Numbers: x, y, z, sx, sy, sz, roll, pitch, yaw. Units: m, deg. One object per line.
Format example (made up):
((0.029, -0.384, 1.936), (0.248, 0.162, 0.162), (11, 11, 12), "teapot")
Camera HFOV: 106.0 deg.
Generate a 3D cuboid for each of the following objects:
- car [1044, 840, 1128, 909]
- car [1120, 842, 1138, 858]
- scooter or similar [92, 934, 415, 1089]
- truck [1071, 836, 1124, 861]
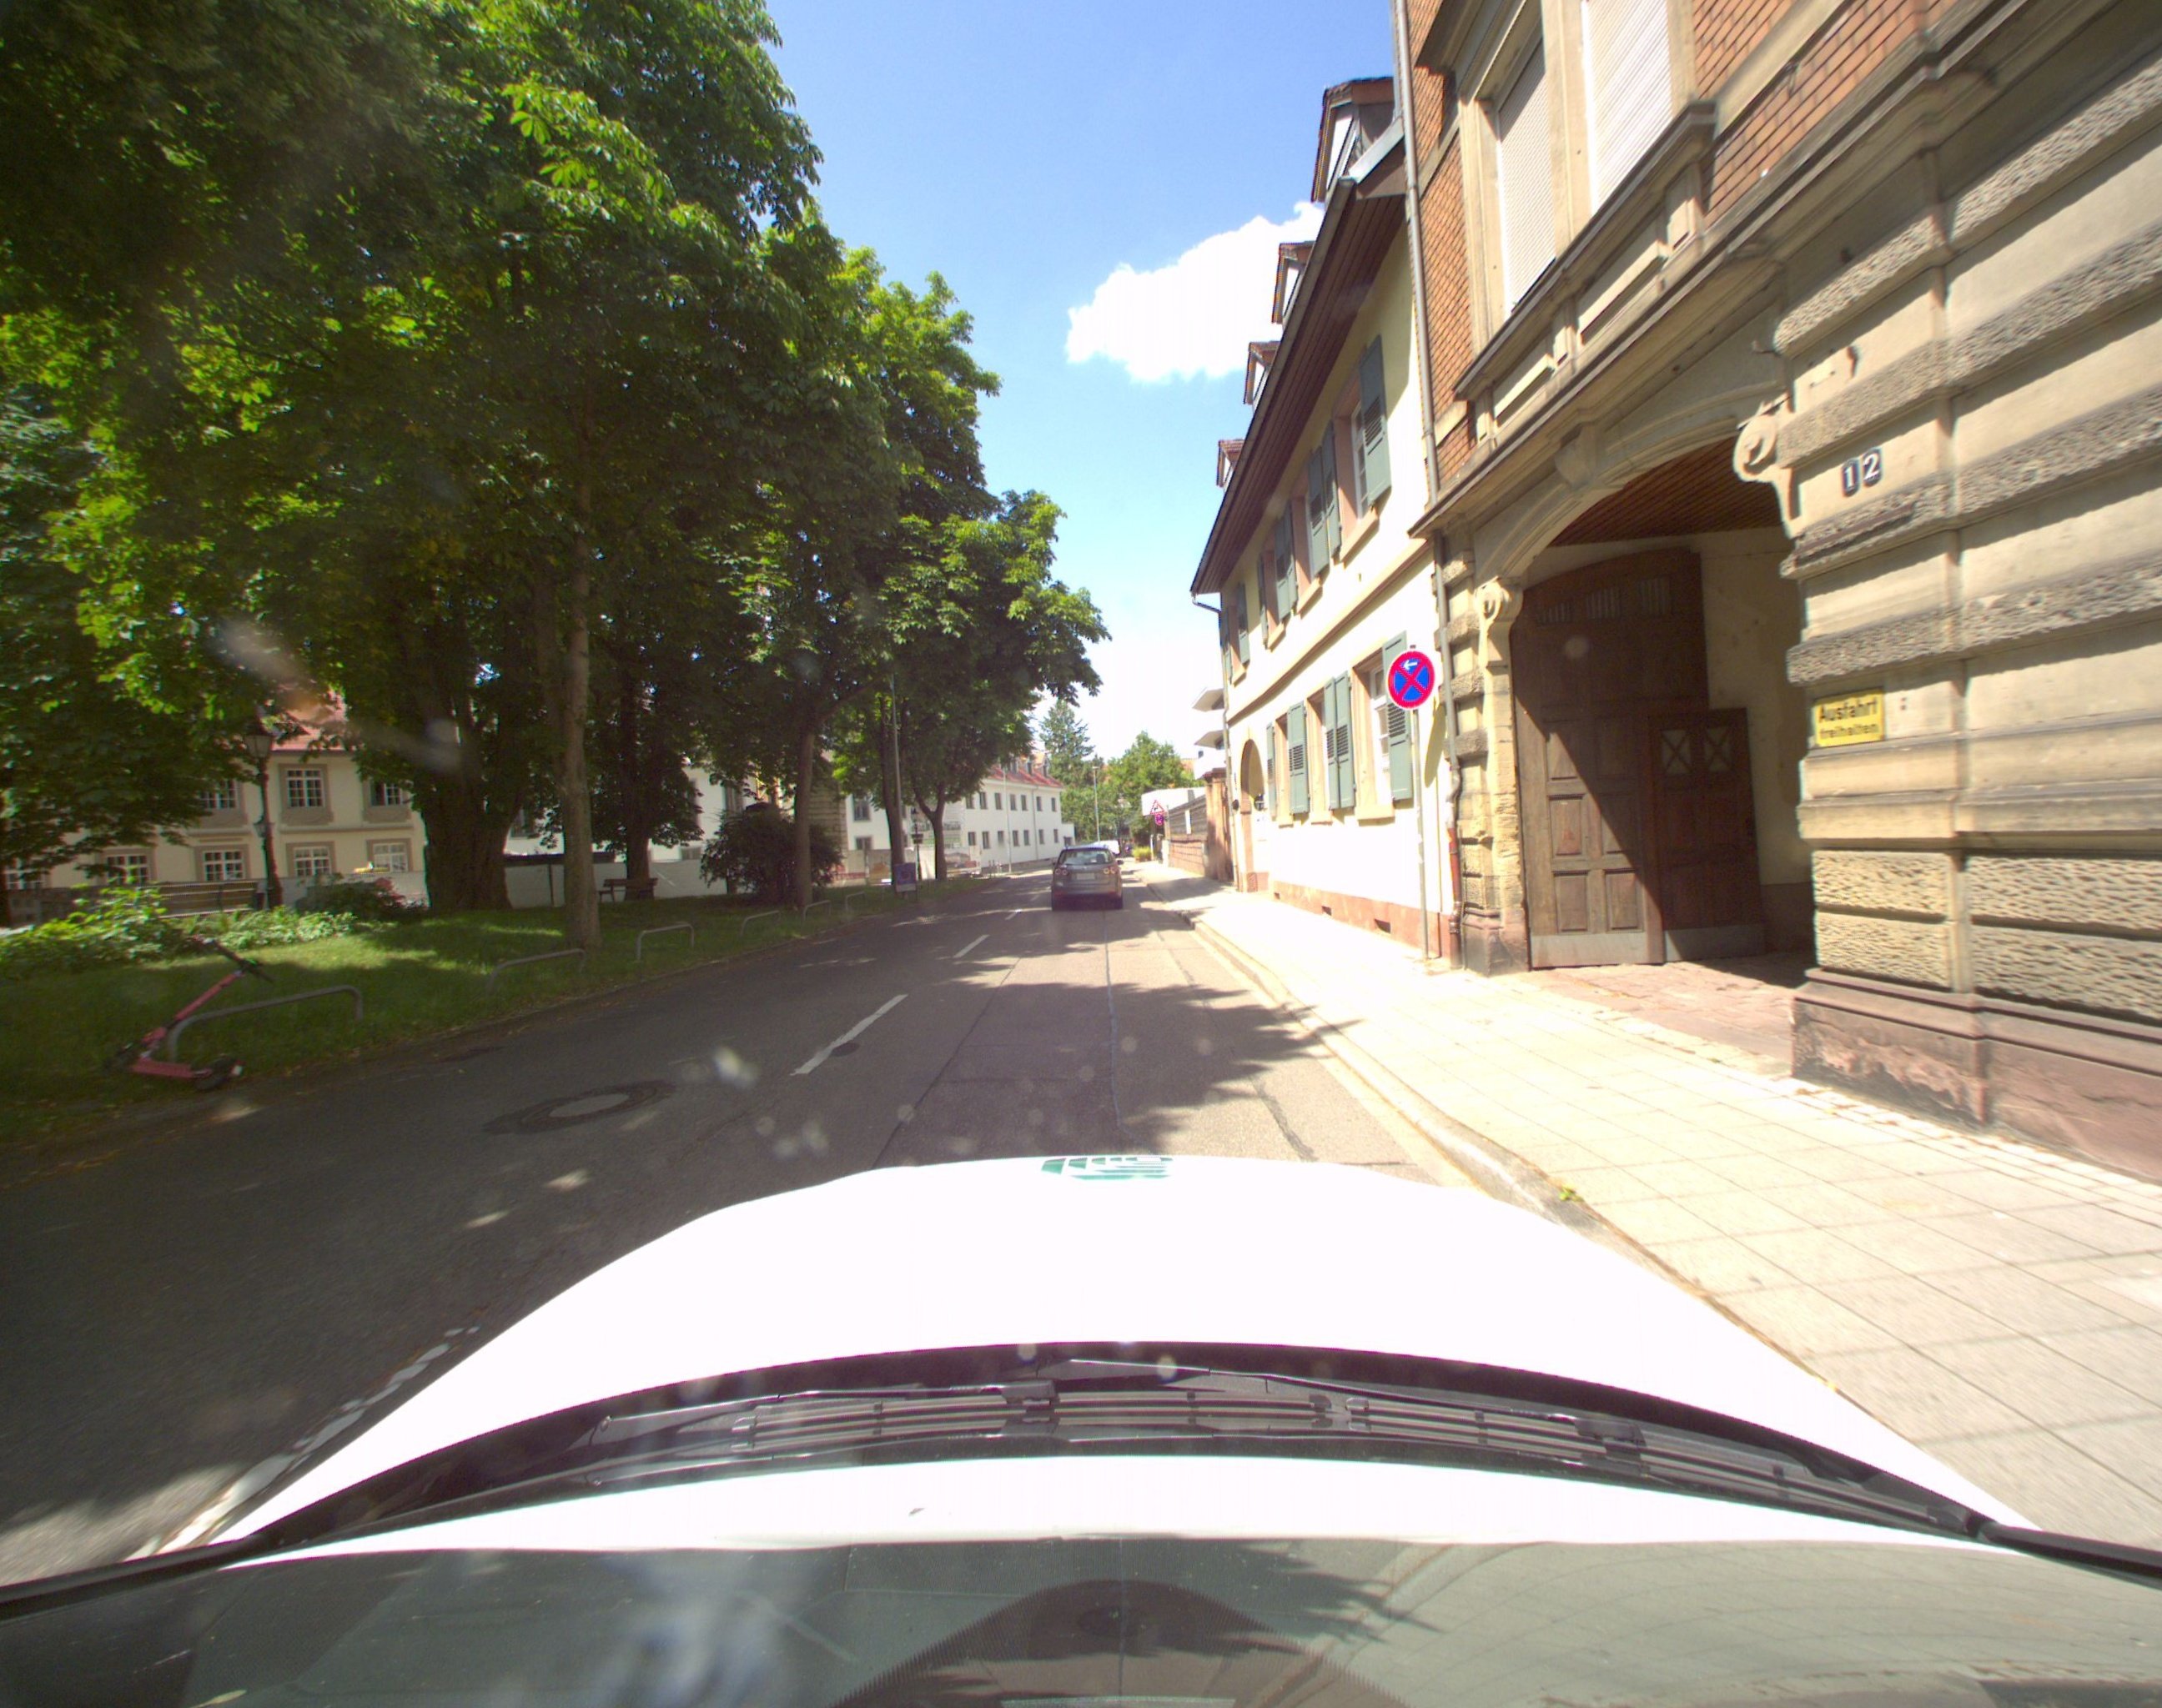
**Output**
((0.173, 0.451, 21.048), (1.896, 1.533, 4.245), (-2, 1, 1), "car")
((4.861, -0.422, 82.855), (1.641, 1.574, 3.640), (-3, 1, 1), "car")
((-7.115, 1.317, 7.148), (1.268, 0.991, 1.451), (4, 0, -1), "scooter or similar")
((1.563, -0.542, 78.148), (4.787, 2.013, 2.142), (-4, 1, -6), "truck")
